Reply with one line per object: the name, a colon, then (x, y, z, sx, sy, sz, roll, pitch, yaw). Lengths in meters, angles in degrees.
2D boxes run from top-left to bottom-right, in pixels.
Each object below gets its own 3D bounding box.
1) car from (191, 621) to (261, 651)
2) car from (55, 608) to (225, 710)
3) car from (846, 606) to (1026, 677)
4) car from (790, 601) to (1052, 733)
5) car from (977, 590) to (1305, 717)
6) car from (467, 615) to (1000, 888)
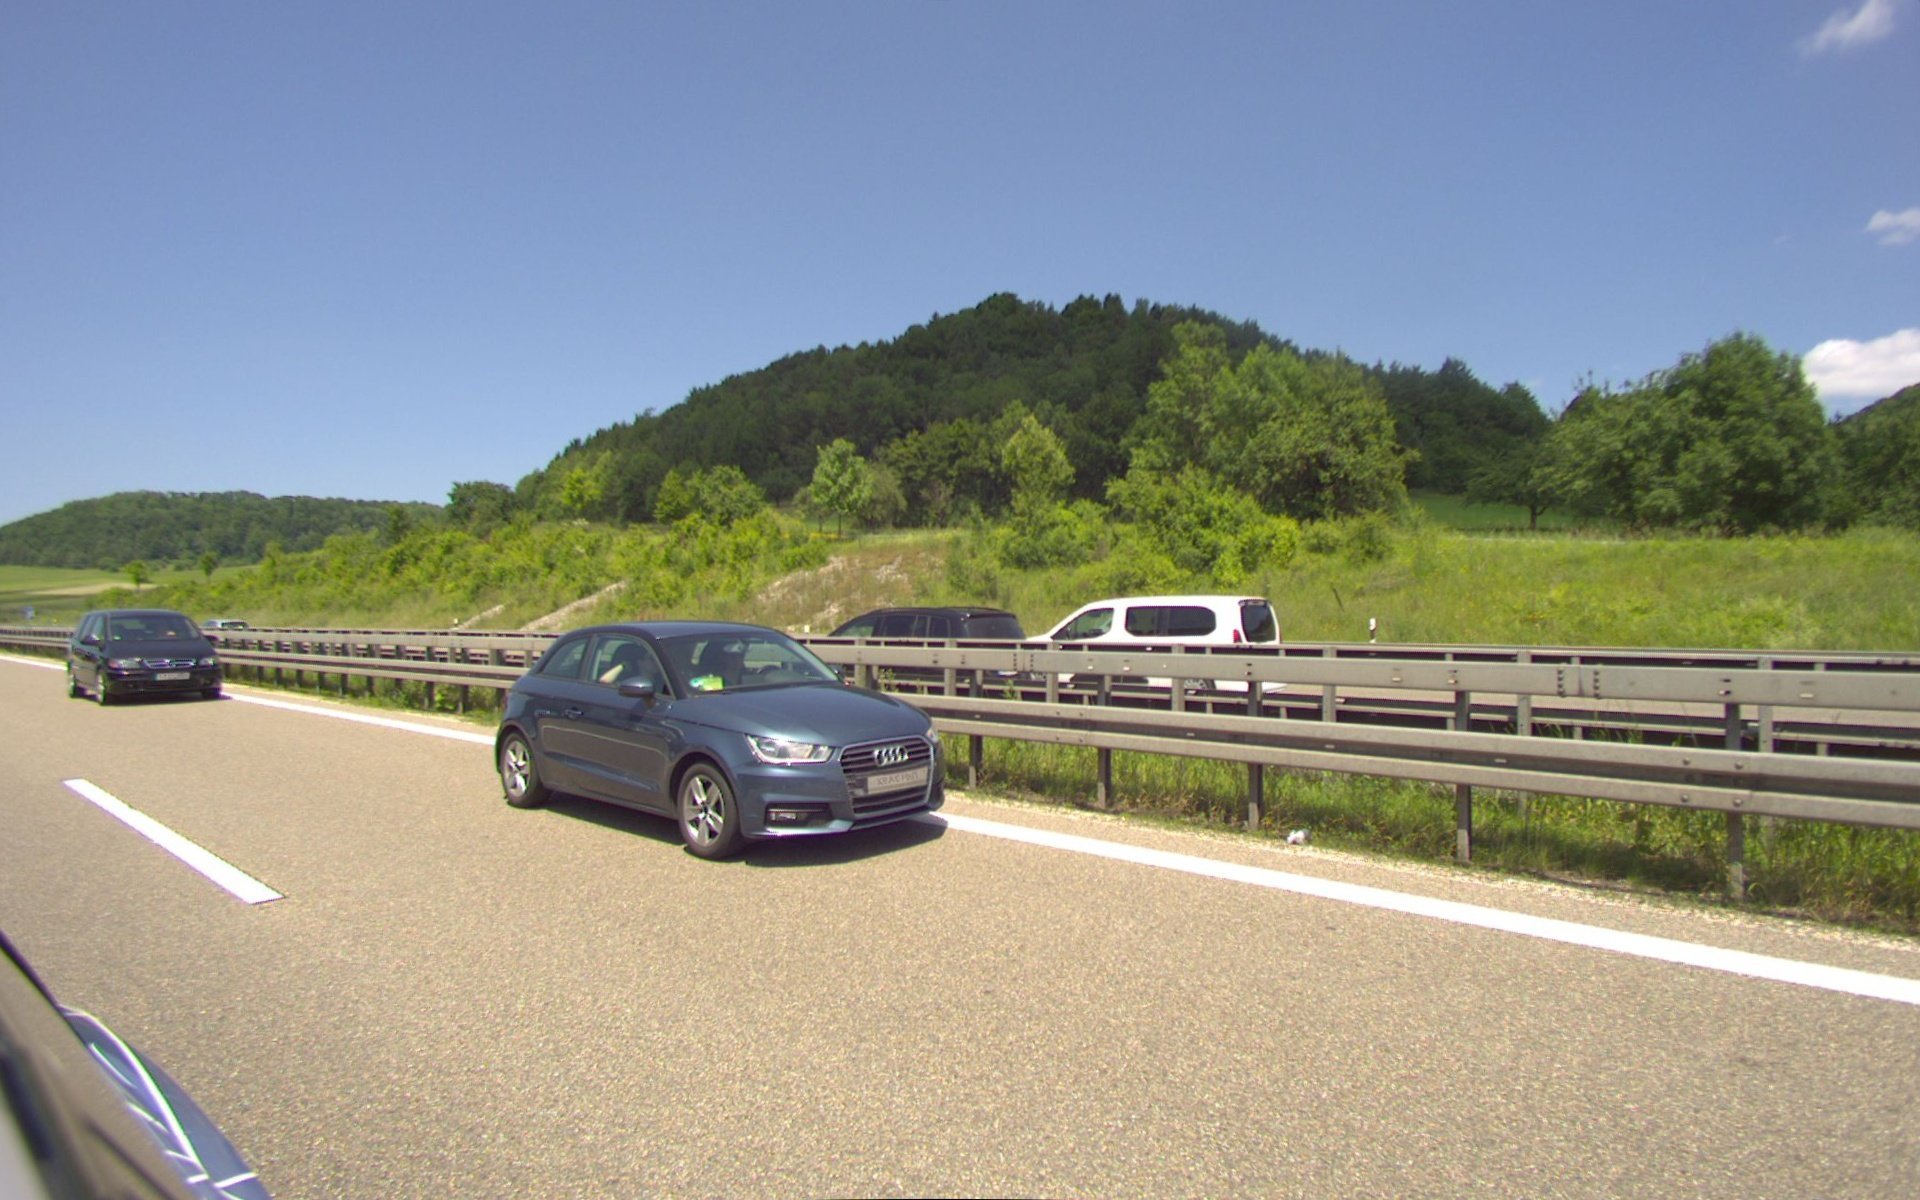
car: (-37.992, 1.845, 52.366, 4.525, 1.466, 1.973, -1, -1, 41)
car: (-14.994, 0.990, 18.416, 4.445, 1.647, 1.781, -1, -1, 43)
car: (-0.676, 0.998, 25.568, 4.542, 1.657, 1.806, -1, -1, 41)
car: (-0.687, 0.935, 15.604, 3.932, 1.775, 1.737, -1, -1, 41)
car: (2.917, 0.820, 17.199, 5.224, 1.853, 1.973, -1, -1, 41)
car: (-1.789, 0.820, 7.180, 3.998, 1.399, 1.671, -1, -1, 41)
